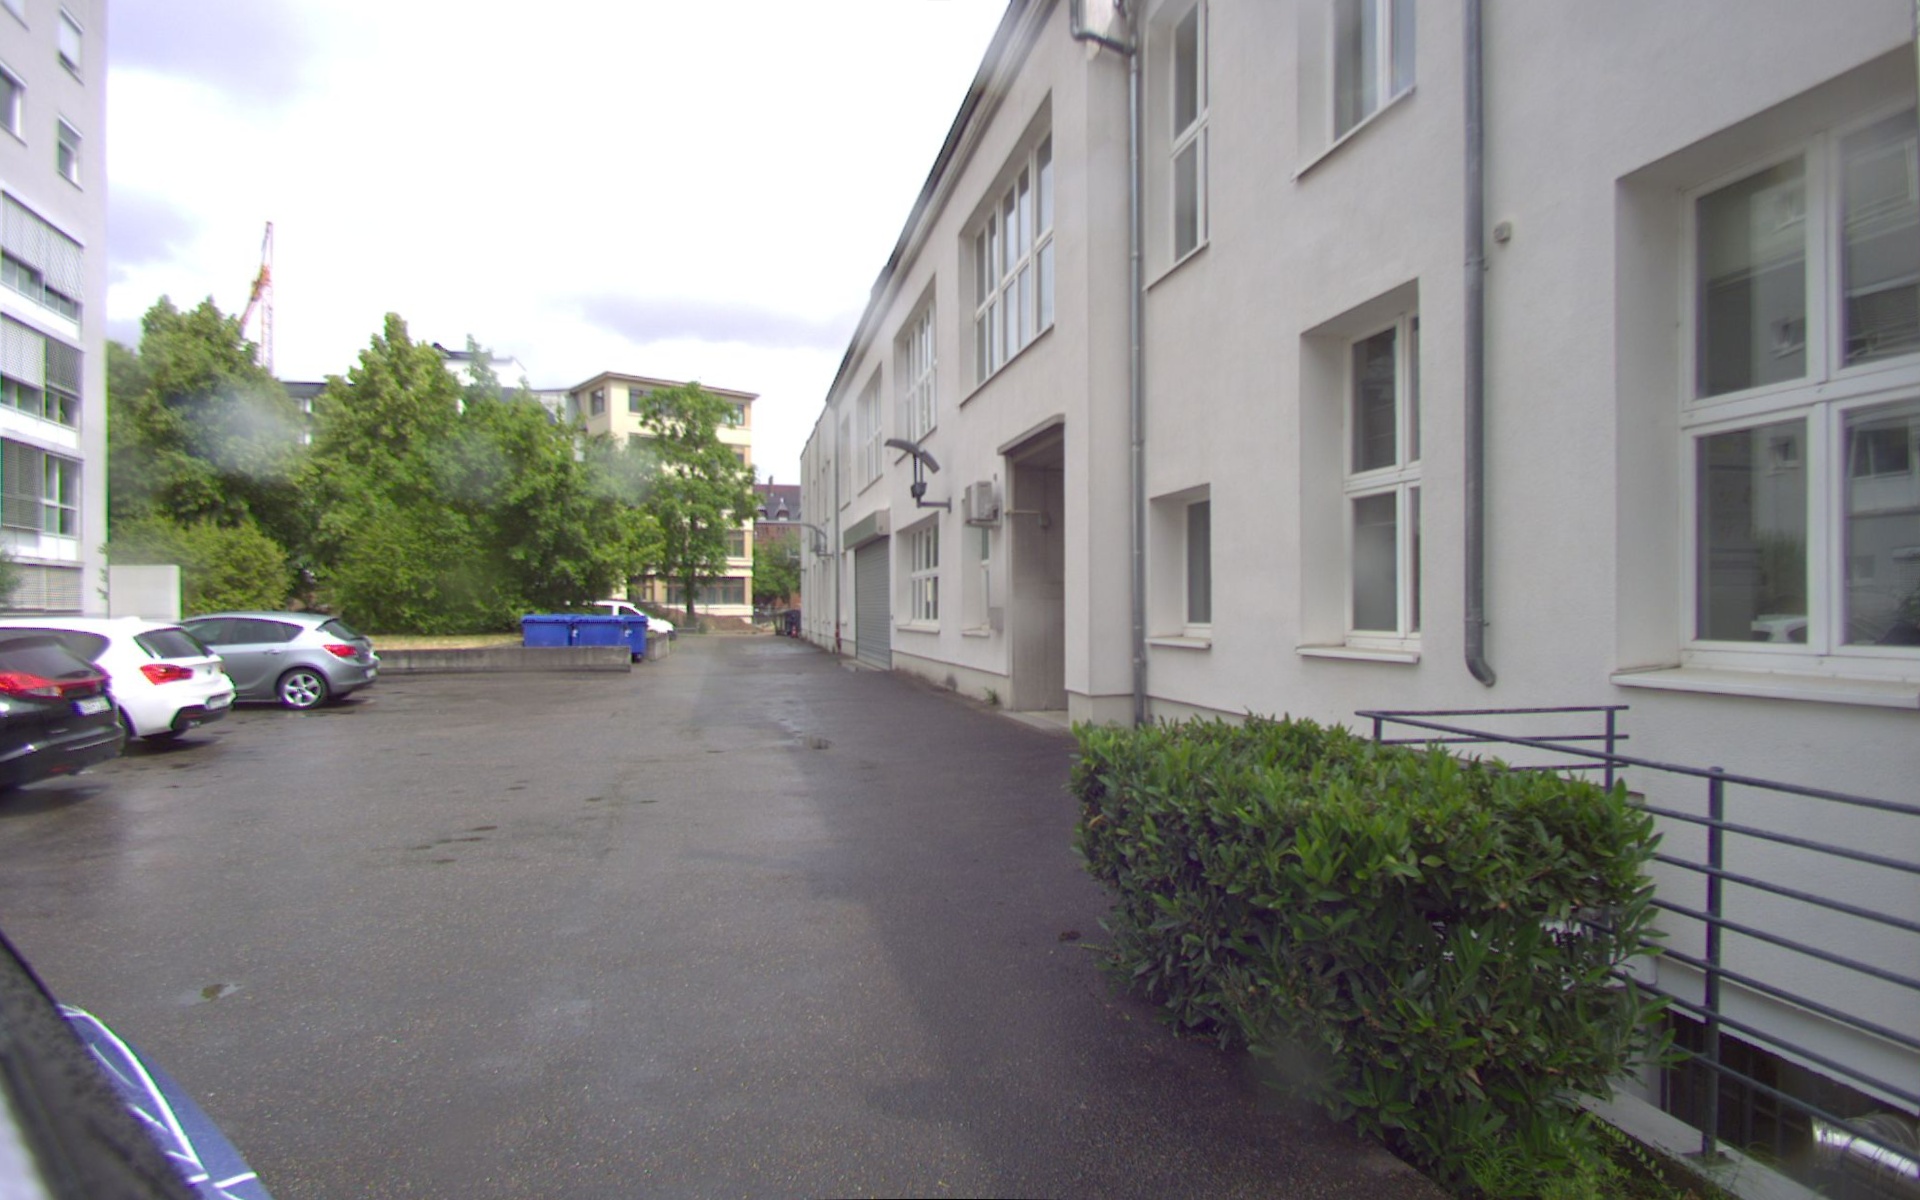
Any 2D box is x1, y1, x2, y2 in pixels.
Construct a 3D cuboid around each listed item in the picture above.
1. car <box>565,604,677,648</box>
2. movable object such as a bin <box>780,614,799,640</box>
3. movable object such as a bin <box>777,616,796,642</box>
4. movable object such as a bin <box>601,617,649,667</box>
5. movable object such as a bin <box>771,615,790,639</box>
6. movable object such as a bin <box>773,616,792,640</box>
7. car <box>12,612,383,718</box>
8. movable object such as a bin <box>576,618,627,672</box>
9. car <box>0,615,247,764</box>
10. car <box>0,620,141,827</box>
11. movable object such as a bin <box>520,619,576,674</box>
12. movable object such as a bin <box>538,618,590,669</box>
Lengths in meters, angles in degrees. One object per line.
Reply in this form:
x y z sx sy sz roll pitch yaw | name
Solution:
-14.275 1.067 42.834 4.266 1.740 1.726 -1 0 -8 | car
-9.008 1.411 53.390 0.963 1.366 0.921 -1 0 -10 | movable object such as a bin
-9.444 1.580 55.099 1.029 1.366 1.210 -1 0 -10 | movable object such as a bin
-9.329 1.159 28.205 1.113 1.338 1.211 -1 0 -10 | movable object such as a bin
-10.506 1.593 59.299 1.049 1.366 1.267 -1 0 -10 | movable object such as a bin
-10.179 1.589 57.959 1.049 1.366 1.267 -1 0 -10 | movable object such as a bin
-11.512 0.945 15.658 4.241 1.453 1.769 1 -1 -19 | car
-9.325 1.161 26.382 1.078 1.335 1.211 -1 0 -10 | movable object such as a bin
-10.201 0.893 10.669 4.054 1.453 1.701 1 -1 -18 | car
-8.980 0.875 7.440 4.241 1.453 1.769 1 -1 -20 | car
-10.612 1.175 26.106 1.113 1.338 1.211 -1 0 -10 | movable object such as a bin
-10.848 1.179 27.772 1.113 1.338 1.211 -1 0 -10 | movable object such as a bin
